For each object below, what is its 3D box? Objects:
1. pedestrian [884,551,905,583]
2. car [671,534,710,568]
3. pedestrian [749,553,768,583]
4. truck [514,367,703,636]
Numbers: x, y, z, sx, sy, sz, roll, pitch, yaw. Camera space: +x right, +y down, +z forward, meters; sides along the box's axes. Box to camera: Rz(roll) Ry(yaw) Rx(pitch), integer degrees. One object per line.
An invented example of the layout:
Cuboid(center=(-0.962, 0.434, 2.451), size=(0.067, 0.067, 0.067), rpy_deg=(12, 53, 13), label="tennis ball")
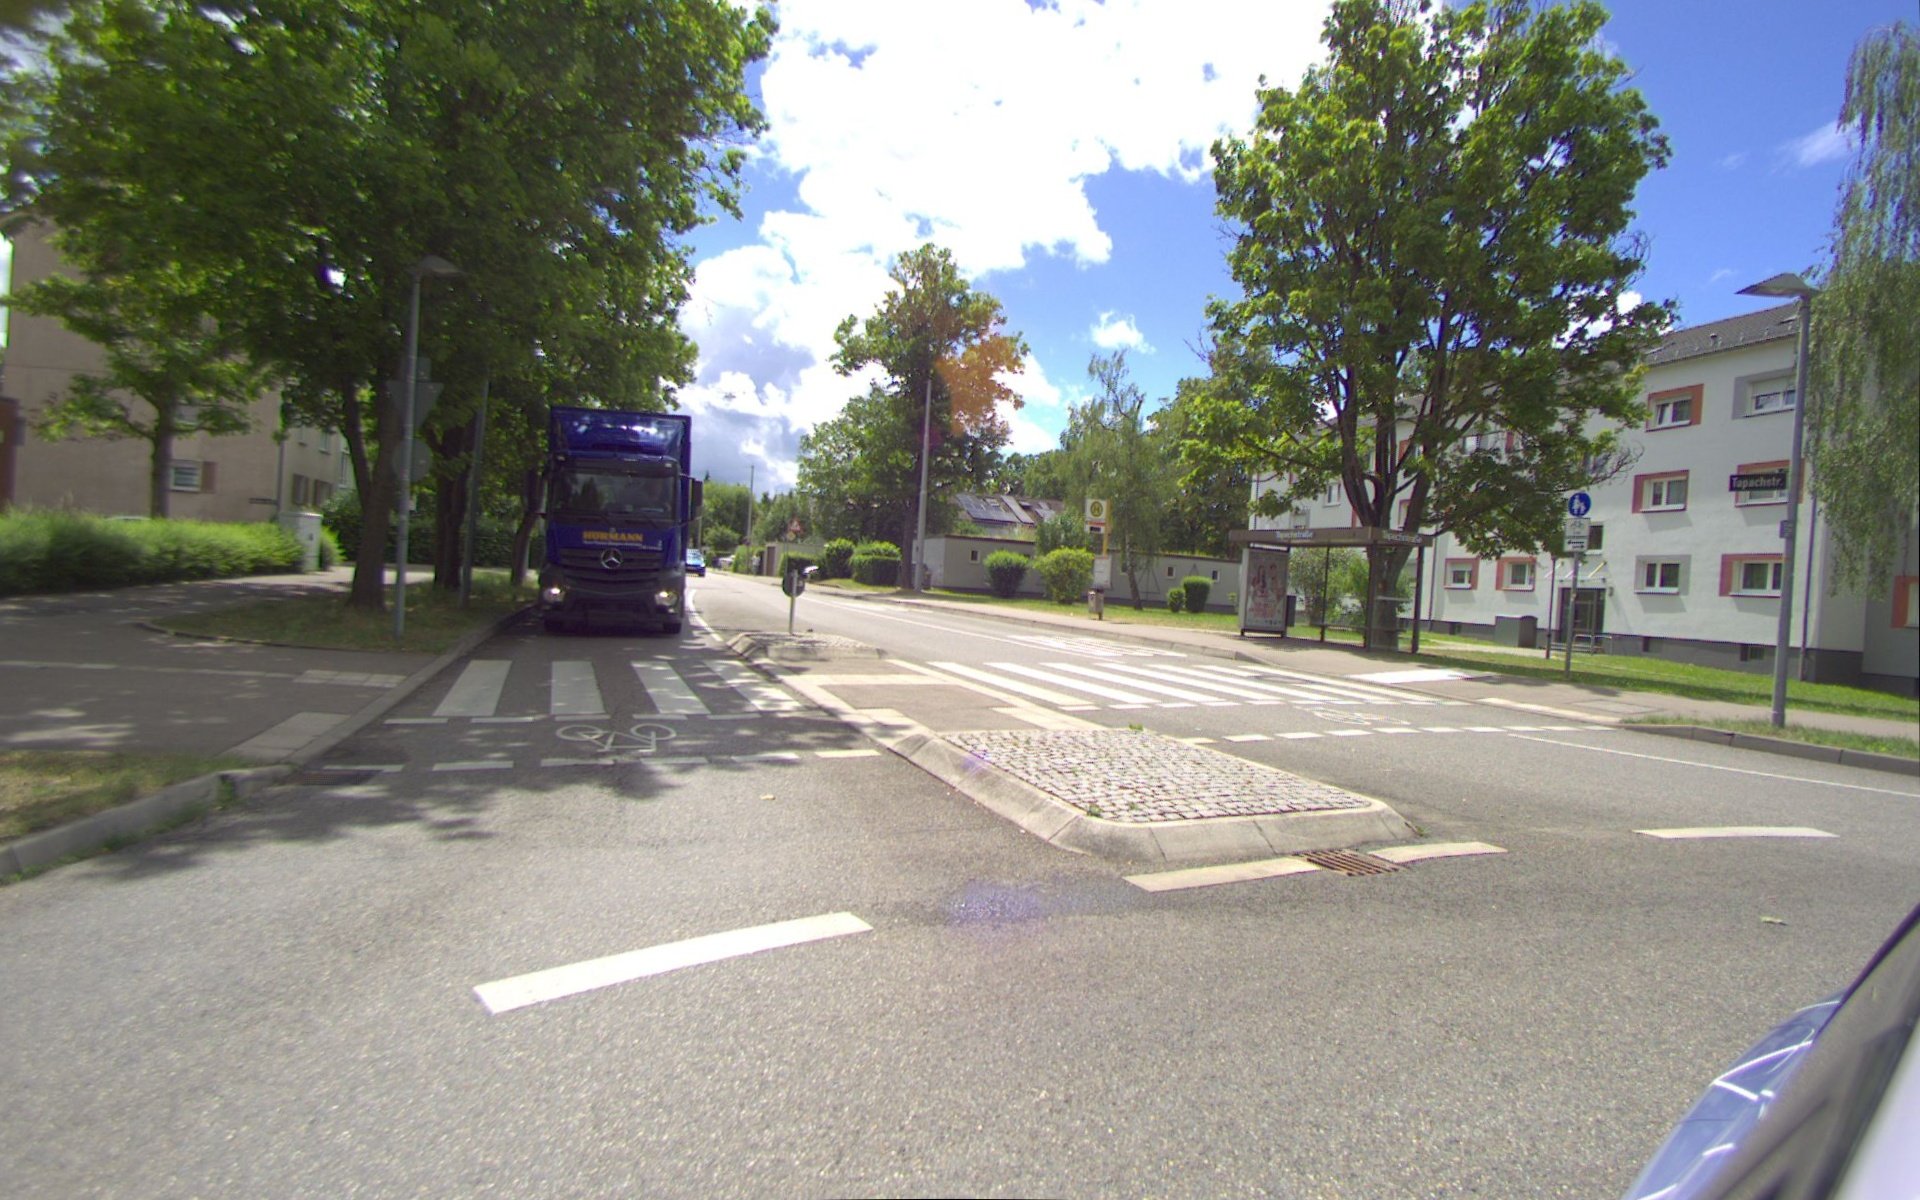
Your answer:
Cuboid(center=(-3.414, -1.701, 52.635), size=(0.884, 1.601, 0.662), rpy_deg=(4, 1, -12), label="pedestrian")
Cuboid(center=(-16.081, -2.888, 60.324), size=(1.958, 1.803, 4.009), rpy_deg=(4, 0, -17), label="car")
Cuboid(center=(-14.527, -2.330, 73.006), size=(1.003, 2.038, 1.044), rpy_deg=(3, 2, -22), label="pedestrian")
Cuboid(center=(-6.961, -1.727, 21.399), size=(2.731, 4.204, 9.820), rpy_deg=(3, 1, -14), label="truck")
